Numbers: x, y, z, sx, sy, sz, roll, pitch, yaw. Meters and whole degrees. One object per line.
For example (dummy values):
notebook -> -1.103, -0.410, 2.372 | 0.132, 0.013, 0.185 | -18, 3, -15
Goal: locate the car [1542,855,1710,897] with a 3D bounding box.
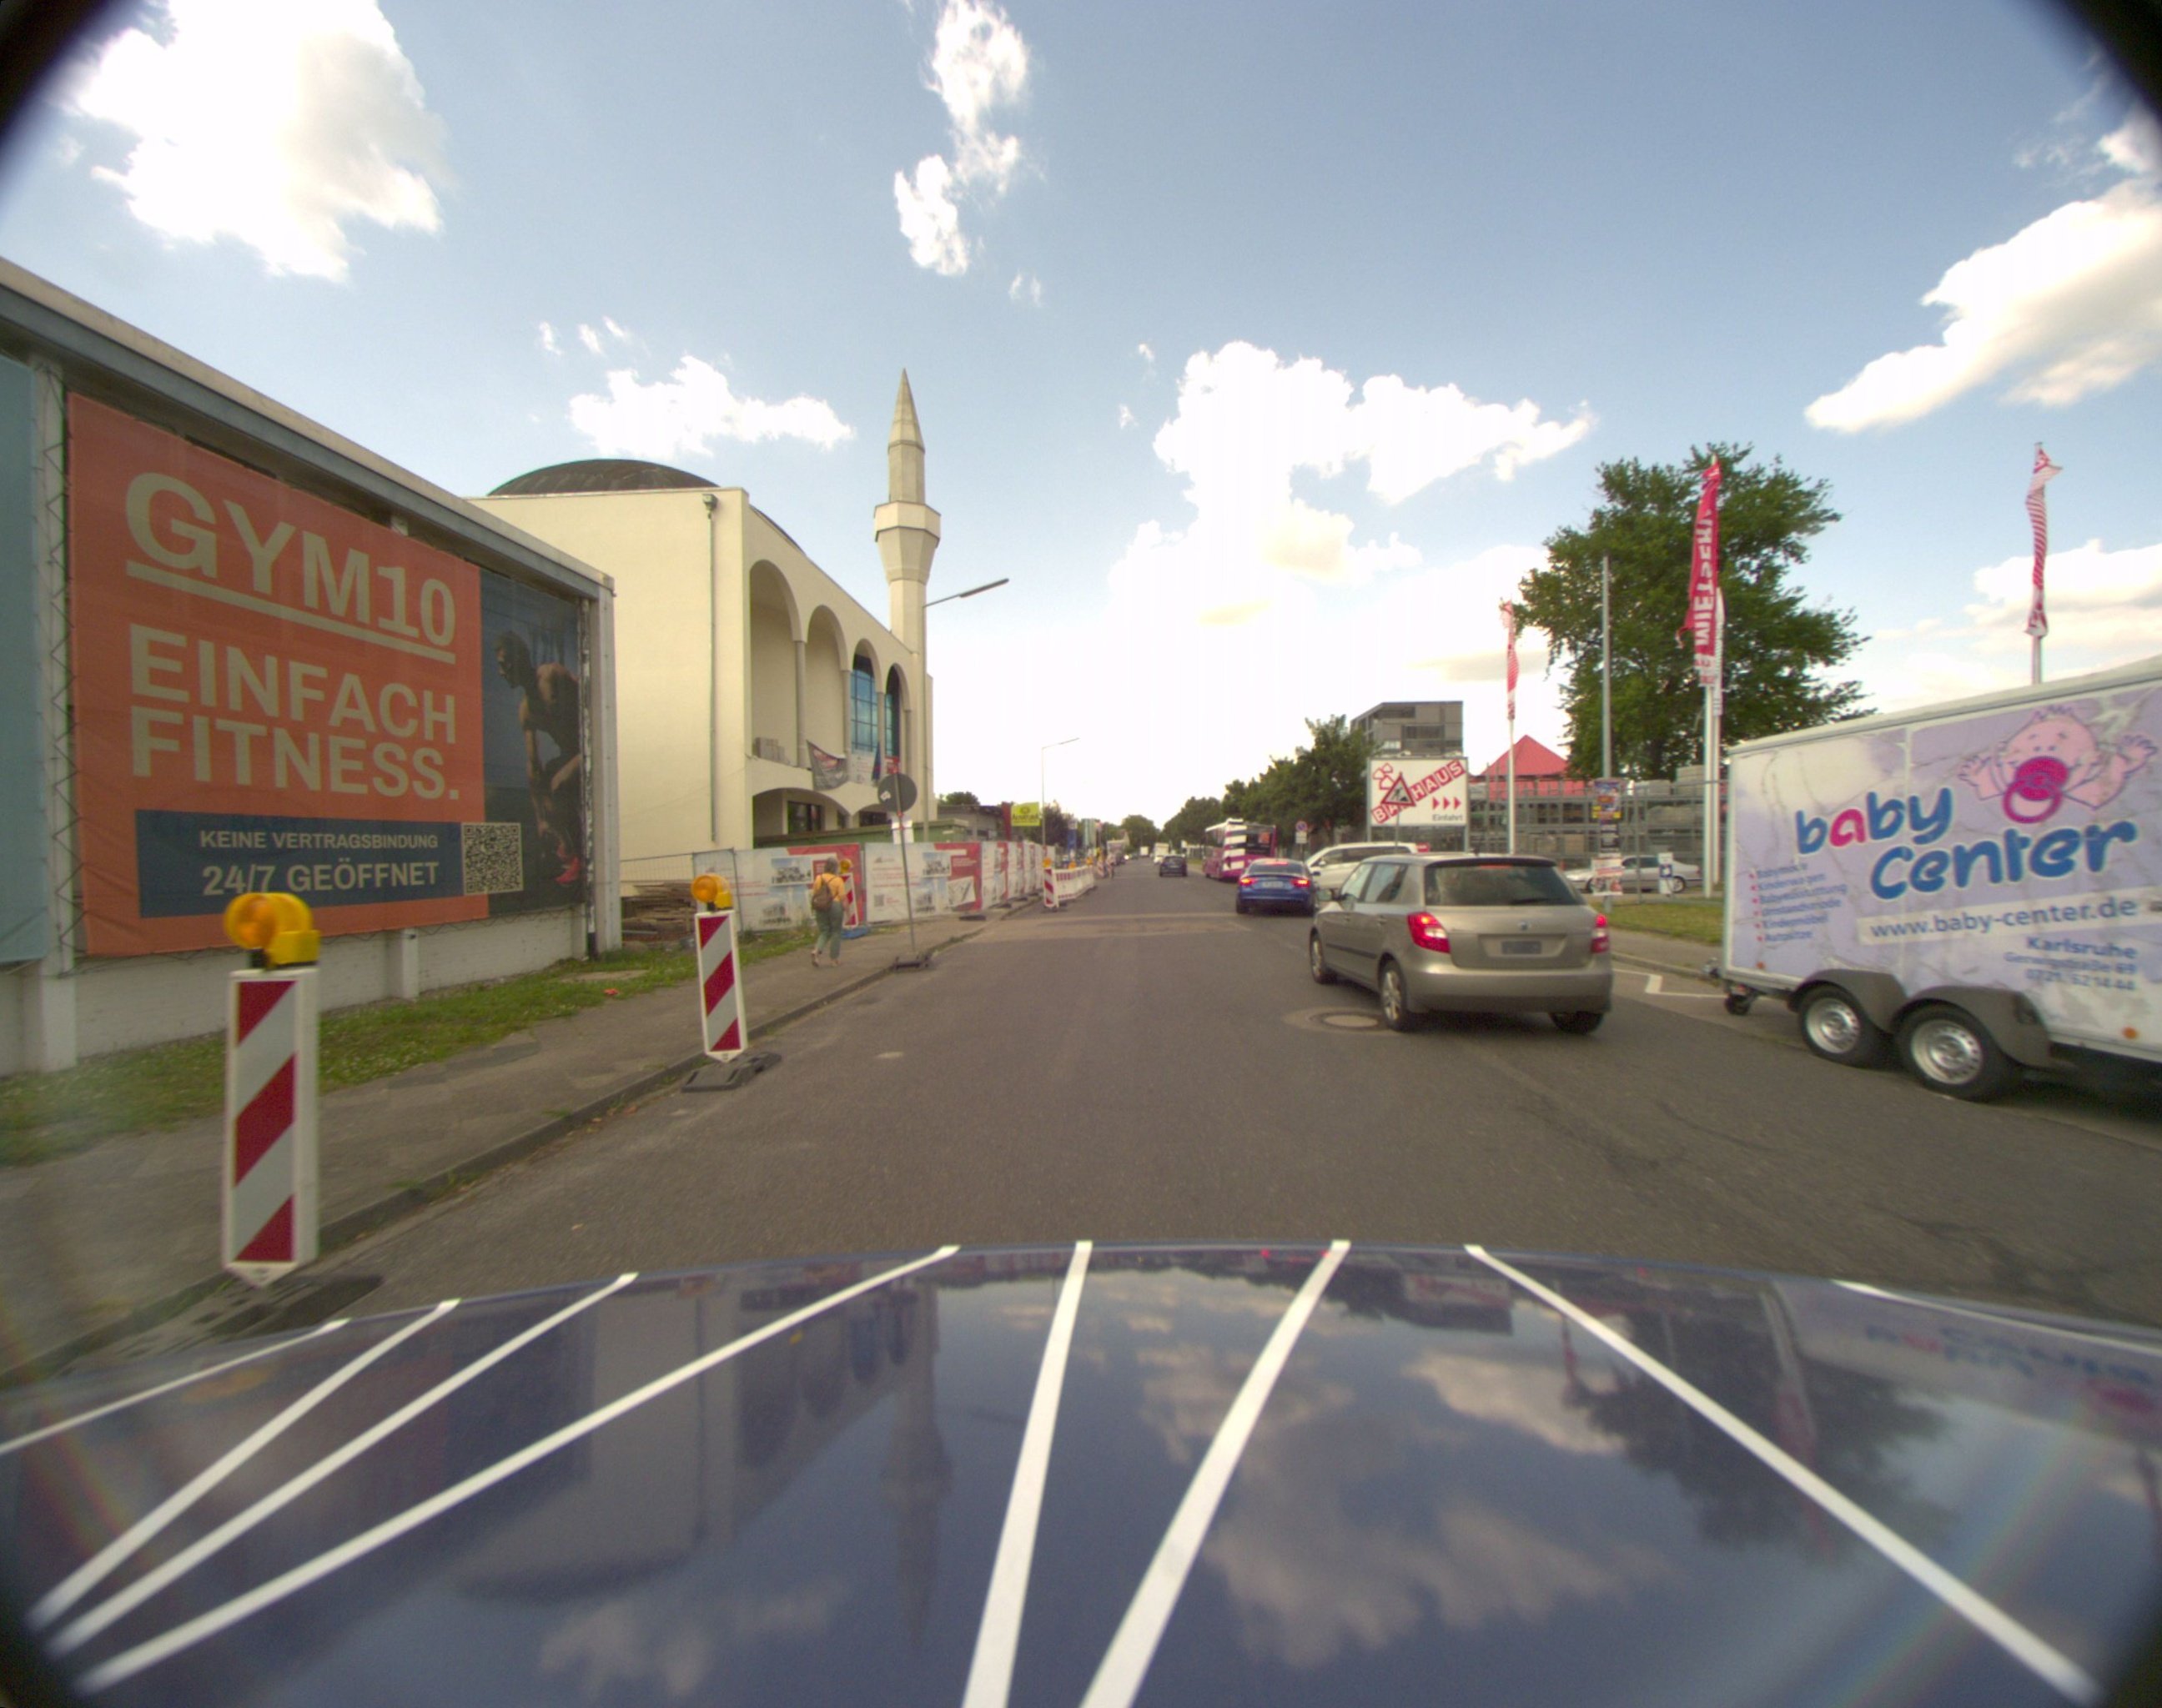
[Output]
car -> 19.997, 0.778, 28.063 | 4.693, 1.445, 1.955 | -1, 0, 5

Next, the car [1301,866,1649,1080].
car -> 3.381, 0.883, 7.381 | 1.594, 1.456, 3.762 | 1, 0, 3

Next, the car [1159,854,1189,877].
car -> 6.160, 0.726, 50.870 | 1.800, 1.450, 4.386 | 1, 0, 5

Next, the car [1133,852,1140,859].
car -> 14.770, 0.439, 201.093 | 1.796, 1.881, 4.001 | -1, 0, 3

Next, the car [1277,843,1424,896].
car -> 10.191, 0.584, 29.105 | 5.009, 1.938, 1.993 | -1, 0, 10

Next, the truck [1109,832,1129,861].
truck -> 5.972, -1.142, 118.470 | 2.784, 4.092, 8.281 | -3, 0, 4

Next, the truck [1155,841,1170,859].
truck -> 16.843, -0.813, 156.984 | 2.754, 3.701, 7.172 | 1, 1, 3

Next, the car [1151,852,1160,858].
car -> 19.224, 0.320, 196.626 | 1.982, 1.565, 4.001 | -1, 0, 3

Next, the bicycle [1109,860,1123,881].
bicycle -> 2.176, 0.990, 46.601 | 0.800, 1.173, 2.627 | -2, 1, 3

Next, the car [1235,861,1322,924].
car -> 4.982, 0.902, 19.496 | 1.926, 1.369, 4.384 | -1, 0, 13

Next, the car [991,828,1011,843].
car -> -8.752, -1.994, 83.484 | 1.723, 1.510, 3.753 | -1, 0, 1

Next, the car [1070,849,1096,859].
car -> 0.291, -0.044, 113.850 | 3.894, 1.513, 1.748 | 0, 0, -1

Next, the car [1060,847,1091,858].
car -> -0.638, -0.177, 98.809 | 3.962, 1.402, 1.797 | 1, 0, 1

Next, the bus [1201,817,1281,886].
bus -> 9.178, -0.158, 45.194 | 2.669, 3.403, 13.221 | 3, 1, 4

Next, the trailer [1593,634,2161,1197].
trailer -> 6.533, 0.313, 5.842 | 2.144, 2.767, 4.704 | 2, 0, 4

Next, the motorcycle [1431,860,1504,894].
motorcycle -> 14.425, 0.851, 28.434 | 2.226, 1.206, 0.995 | 0, 1, 5

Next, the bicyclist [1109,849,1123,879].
bicyclist -> 2.154, 0.626, 46.631 | 0.808, 1.782, 1.207 | -3, 1, 3

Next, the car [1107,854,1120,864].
car -> 4.526, 0.671, 104.650 | 1.665, 1.332, 3.986 | -4, 0, 3

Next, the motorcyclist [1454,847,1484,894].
motorcyclist -> 14.504, 0.599, 28.414 | 0.675, 1.713, 0.995 | 0, 1, 5

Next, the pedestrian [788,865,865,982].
pedestrian -> -3.562, 0.943, 10.728 | 0.683, 1.525, 1.130 | -1, 1, -1

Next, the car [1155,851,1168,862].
car -> 11.184, 0.301, 105.936 | 1.687, 1.461, 3.613 | 1, 0, 3
